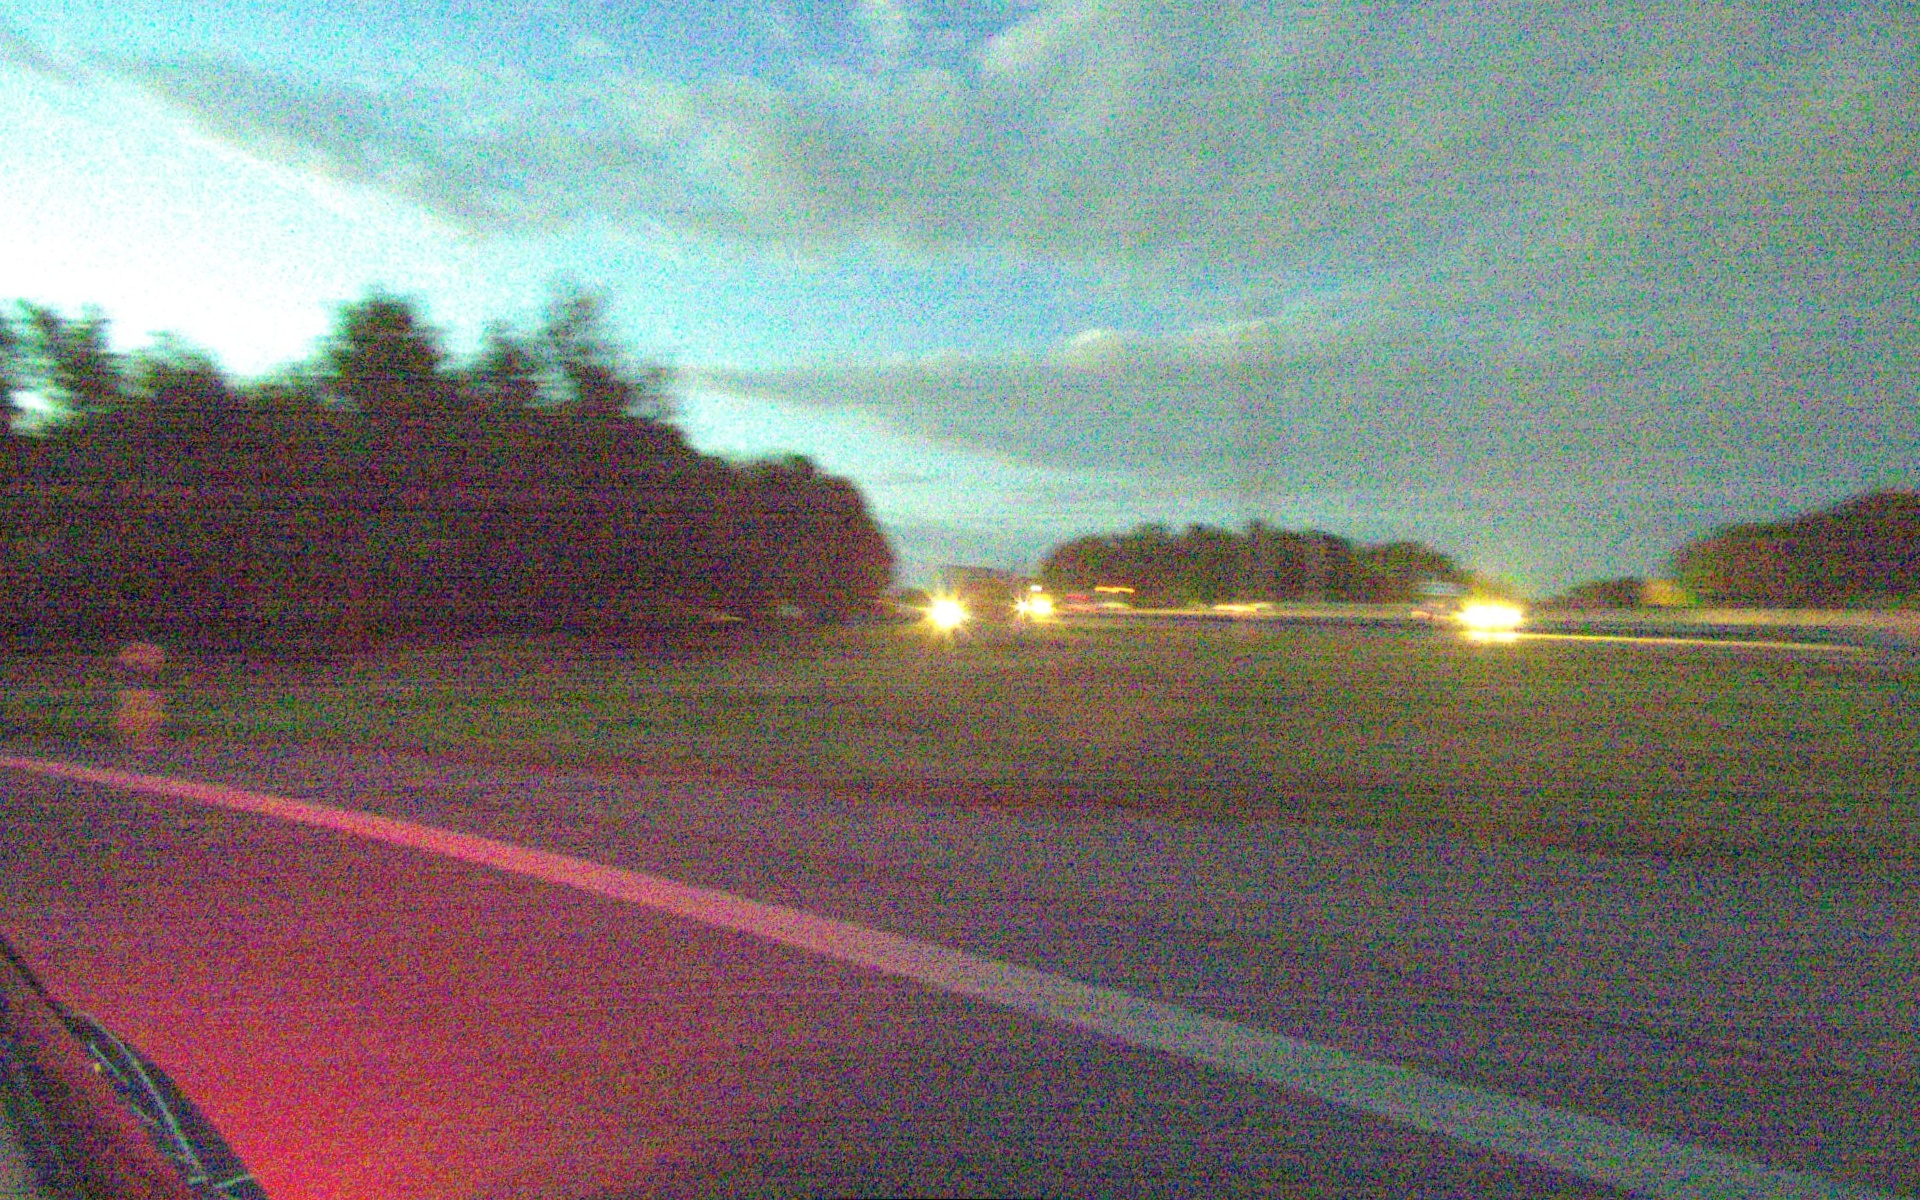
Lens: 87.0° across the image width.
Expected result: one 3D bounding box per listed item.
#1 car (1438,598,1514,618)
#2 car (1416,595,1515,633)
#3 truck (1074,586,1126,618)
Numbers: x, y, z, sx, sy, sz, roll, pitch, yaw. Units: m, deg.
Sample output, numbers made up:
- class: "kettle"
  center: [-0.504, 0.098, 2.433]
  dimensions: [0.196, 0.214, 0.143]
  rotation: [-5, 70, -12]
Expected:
- class: "car"
  center: [29.175, 0.436, 57.305]
  dimensions: [1.538, 1.067, 4.011]
  rotation: [-1, 0, -14]
- class: "car"
  center: [19.738, 0.544, 39.680]
  dimensions: [1.706, 1.379, 3.636]
  rotation: [-1, 0, -6]
- class: "truck"
  center: [20.234, 0.296, 147.420]
  dimensions: [3.171, 4.484, 12.791]
  rotation: [-1, 0, -12]
